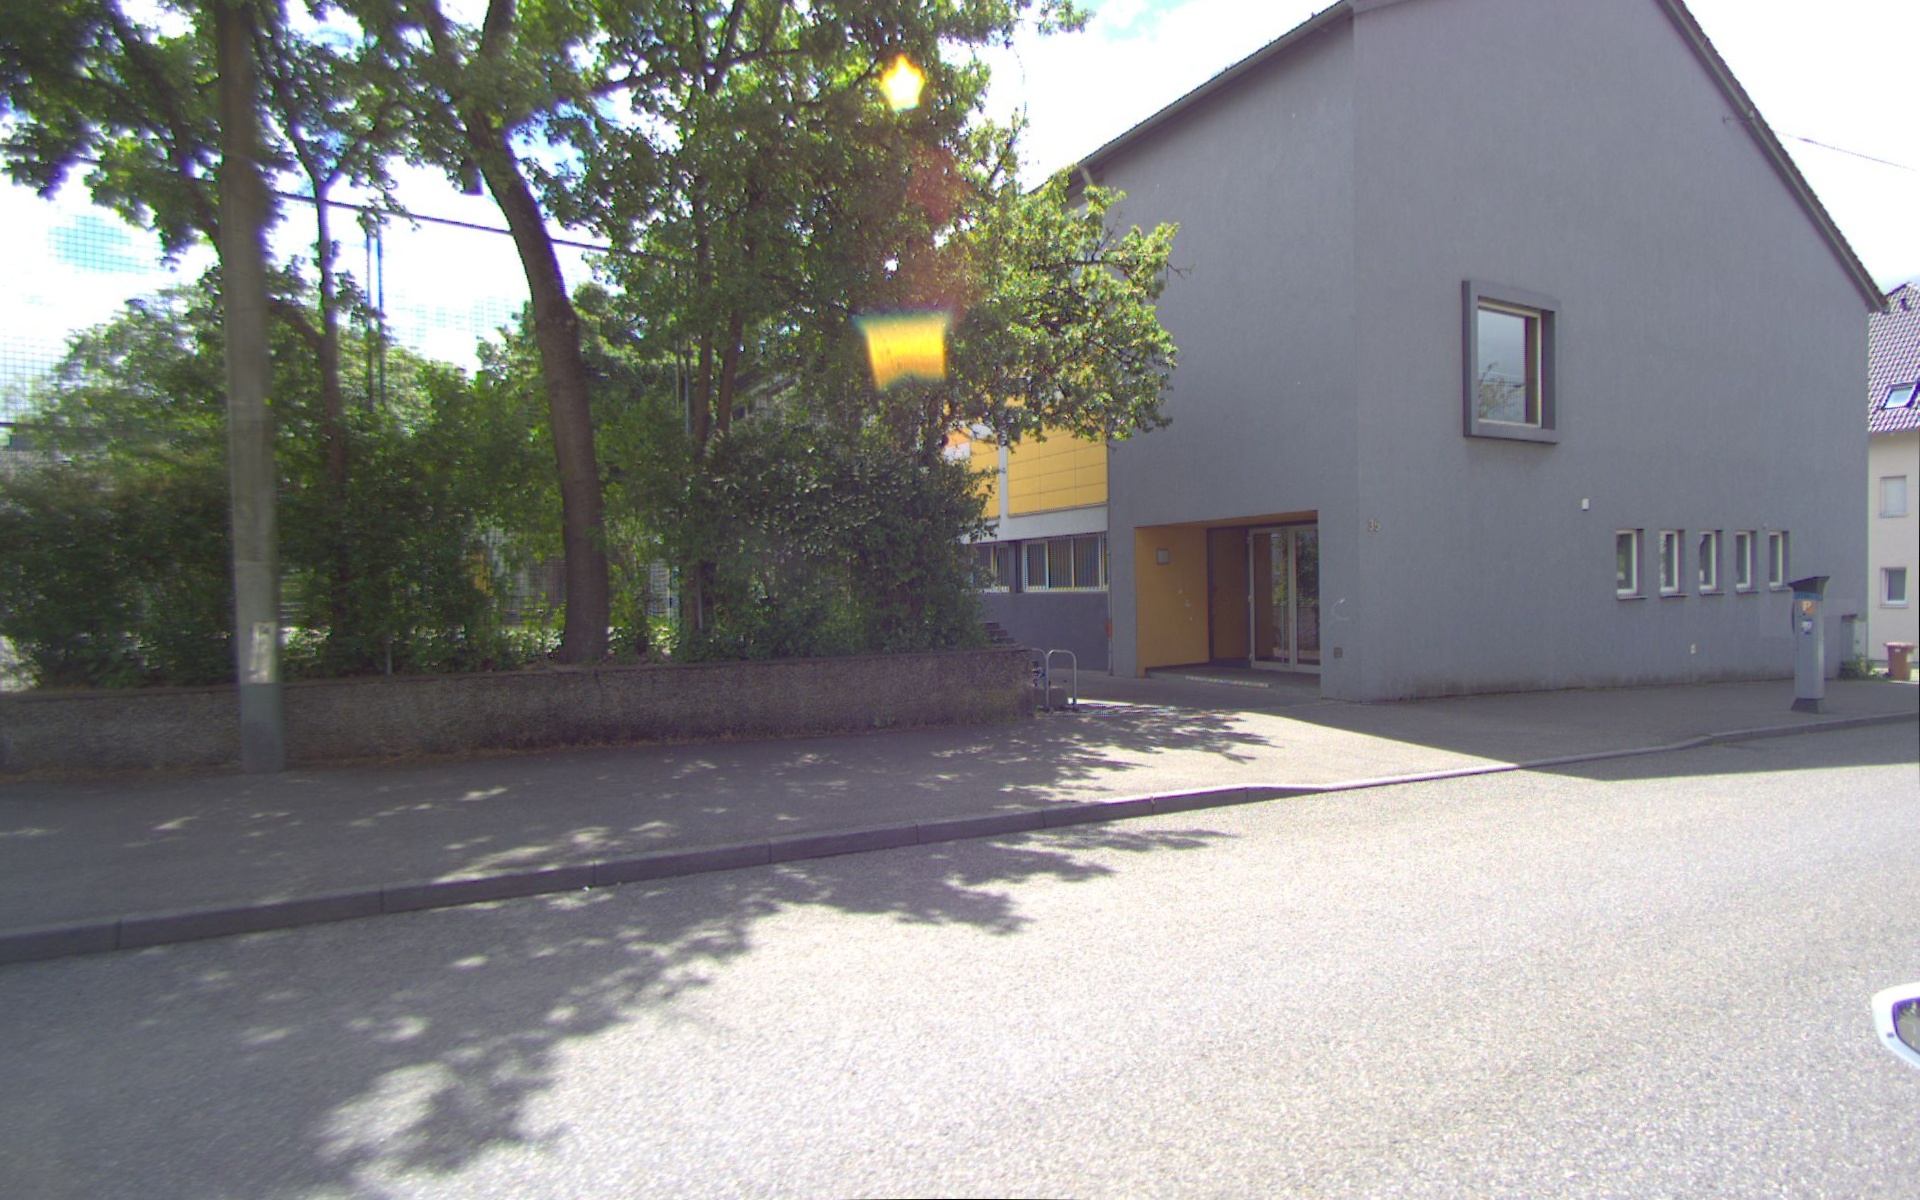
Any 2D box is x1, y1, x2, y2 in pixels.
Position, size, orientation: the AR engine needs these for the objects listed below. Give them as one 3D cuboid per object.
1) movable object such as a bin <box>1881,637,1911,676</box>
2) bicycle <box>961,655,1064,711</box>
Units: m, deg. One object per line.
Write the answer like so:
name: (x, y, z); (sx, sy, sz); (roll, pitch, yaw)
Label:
movable object such as a bin: (23.306, 1.394, 25.022); (0.395, 0.941, 0.452); (0, -1, -31)
bicycle: (0.782, 1.225, 14.993); (1.425, 0.760, 0.585); (0, -3, -28)
